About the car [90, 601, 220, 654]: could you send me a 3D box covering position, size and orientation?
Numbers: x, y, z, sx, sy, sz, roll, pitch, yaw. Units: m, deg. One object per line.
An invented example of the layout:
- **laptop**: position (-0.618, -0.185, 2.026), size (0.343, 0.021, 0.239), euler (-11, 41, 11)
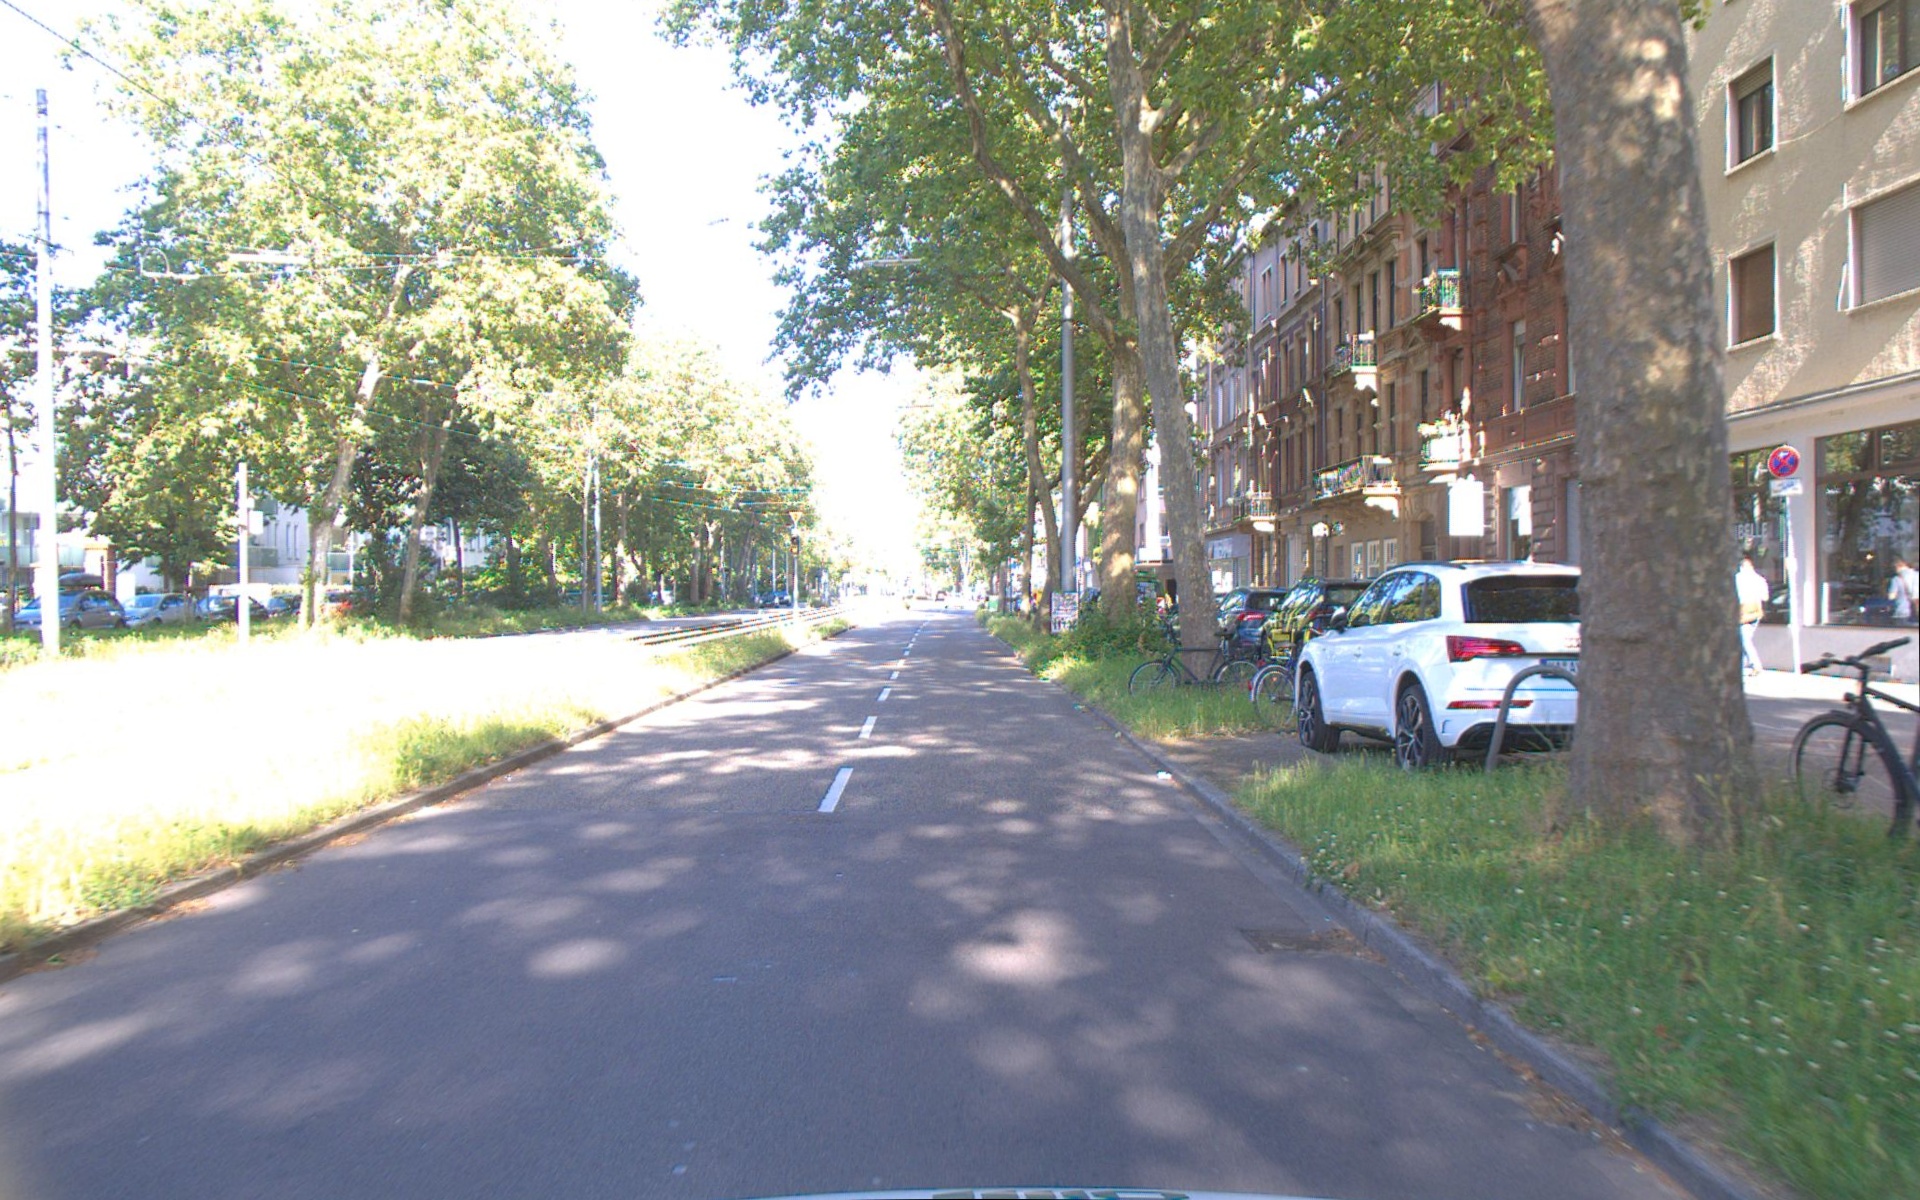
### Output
- **car**: position (-26.642, 0.872, 54.883), size (1.952, 1.643, 4.422), euler (0, 0, 3)

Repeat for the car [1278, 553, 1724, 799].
- **car**: position (4.167, 0.518, 13.705), size (1.865, 1.665, 4.820), euler (0, 0, -4)

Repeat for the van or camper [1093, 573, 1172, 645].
- **van or camper**: position (5.550, 0.292, 53.777), size (1.797, 2.134, 4.772), euler (2, 0, -2)

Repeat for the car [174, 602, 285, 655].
- **car**: position (-26.627, 0.991, 60.459), size (2.066, 1.840, 4.736), euler (0, 0, -2)

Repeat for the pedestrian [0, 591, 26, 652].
- **pedestrian**: position (-32.146, 0.717, 55.988), size (0.700, 2.049, 0.626), euler (0, 0, -1)

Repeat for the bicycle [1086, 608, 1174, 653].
- **bicycle**: position (5.184, 0.923, 50.455), size (2.500, 1.317, 0.973), euler (1, 0, -8)

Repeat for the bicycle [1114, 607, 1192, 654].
- **bicycle**: position (5.559, 0.875, 47.800), size (2.120, 1.317, 0.983), euler (1, 0, -1)

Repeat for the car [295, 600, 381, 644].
- **car**: position (-26.878, 0.916, 71.669), size (2.066, 1.840, 4.736), euler (0, 0, -2)

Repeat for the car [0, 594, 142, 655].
- **car**: position (-26.496, 0.695, 49.393), size (1.731, 1.749, 4.422), euler (0, 0, 3)

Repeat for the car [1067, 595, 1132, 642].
- **car**: position (5.301, 0.693, 63.289), size (1.853, 1.676, 4.798), euler (2, 0, -2)

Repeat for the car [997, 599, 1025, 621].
- **car**: position (3.647, 0.714, 118.895), size (1.649, 1.540, 3.665), euler (1, 0, -3)

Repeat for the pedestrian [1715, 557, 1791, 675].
- **pedestrian**: position (11.854, 0.241, 24.743), size (0.779, 1.734, 0.724), euler (-1, 0, -1)

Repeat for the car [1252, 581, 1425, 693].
- **car**: position (5.747, 0.504, 25.607), size (1.660, 1.557, 4.261), euler (0, 1, -1)

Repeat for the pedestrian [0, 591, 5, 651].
- **pedestrian**: position (-32.903, 0.718, 56.036), size (0.700, 2.049, 0.626), euler (0, 0, -1)

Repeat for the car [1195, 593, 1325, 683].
- **car**: position (5.628, 0.658, 31.533), size (1.660, 1.533, 4.582), euler (0, 1, 0)

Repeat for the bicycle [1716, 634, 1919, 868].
- **bicycle**: position (4.301, 0.647, 7.604), size (0.626, 0.941, 2.164), euler (0, 0, -1)

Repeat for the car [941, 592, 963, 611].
- **car**: position (-0.721, 0.145, 150.745), size (1.980, 1.691, 3.999), euler (0, 0, -1)

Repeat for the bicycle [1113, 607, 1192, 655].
- **bicycle**: position (5.421, 0.864, 46.647), size (2.119, 1.317, 0.983), euler (1, 0, 1)

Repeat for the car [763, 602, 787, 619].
- **car**: position (-18.114, 1.061, 162.121), size (1.759, 1.534, 4.338), euler (-3, 0, 0)

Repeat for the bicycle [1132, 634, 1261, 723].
- **bicycle**: position (2.910, 0.964, 20.433), size (1.560, 1.077, 0.404), euler (0, 0, 6)

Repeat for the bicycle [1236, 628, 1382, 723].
- **bicycle**: position (3.769, 0.789, 17.814), size (1.749, 0.944, 0.644), euler (0, 0, -42)

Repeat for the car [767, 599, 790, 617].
- **car**: position (-20.142, 0.912, 183.962), size (1.953, 1.903, 4.872), euler (-2, 0, 0)

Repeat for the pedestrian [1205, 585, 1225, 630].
- **pedestrian**: position (10.628, 0.319, 68.949), size (0.688, 1.854, 0.611), euler (0, 0, -1)

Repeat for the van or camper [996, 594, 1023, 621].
- **van or camper**: position (3.714, 0.585, 124.402), size (1.802, 1.997, 5.125), euler (1, 0, -1)

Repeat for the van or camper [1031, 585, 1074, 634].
- **van or camper**: position (5.058, 0.528, 91.454), size (2.139, 2.524, 6.269), euler (2, 0, 2)
